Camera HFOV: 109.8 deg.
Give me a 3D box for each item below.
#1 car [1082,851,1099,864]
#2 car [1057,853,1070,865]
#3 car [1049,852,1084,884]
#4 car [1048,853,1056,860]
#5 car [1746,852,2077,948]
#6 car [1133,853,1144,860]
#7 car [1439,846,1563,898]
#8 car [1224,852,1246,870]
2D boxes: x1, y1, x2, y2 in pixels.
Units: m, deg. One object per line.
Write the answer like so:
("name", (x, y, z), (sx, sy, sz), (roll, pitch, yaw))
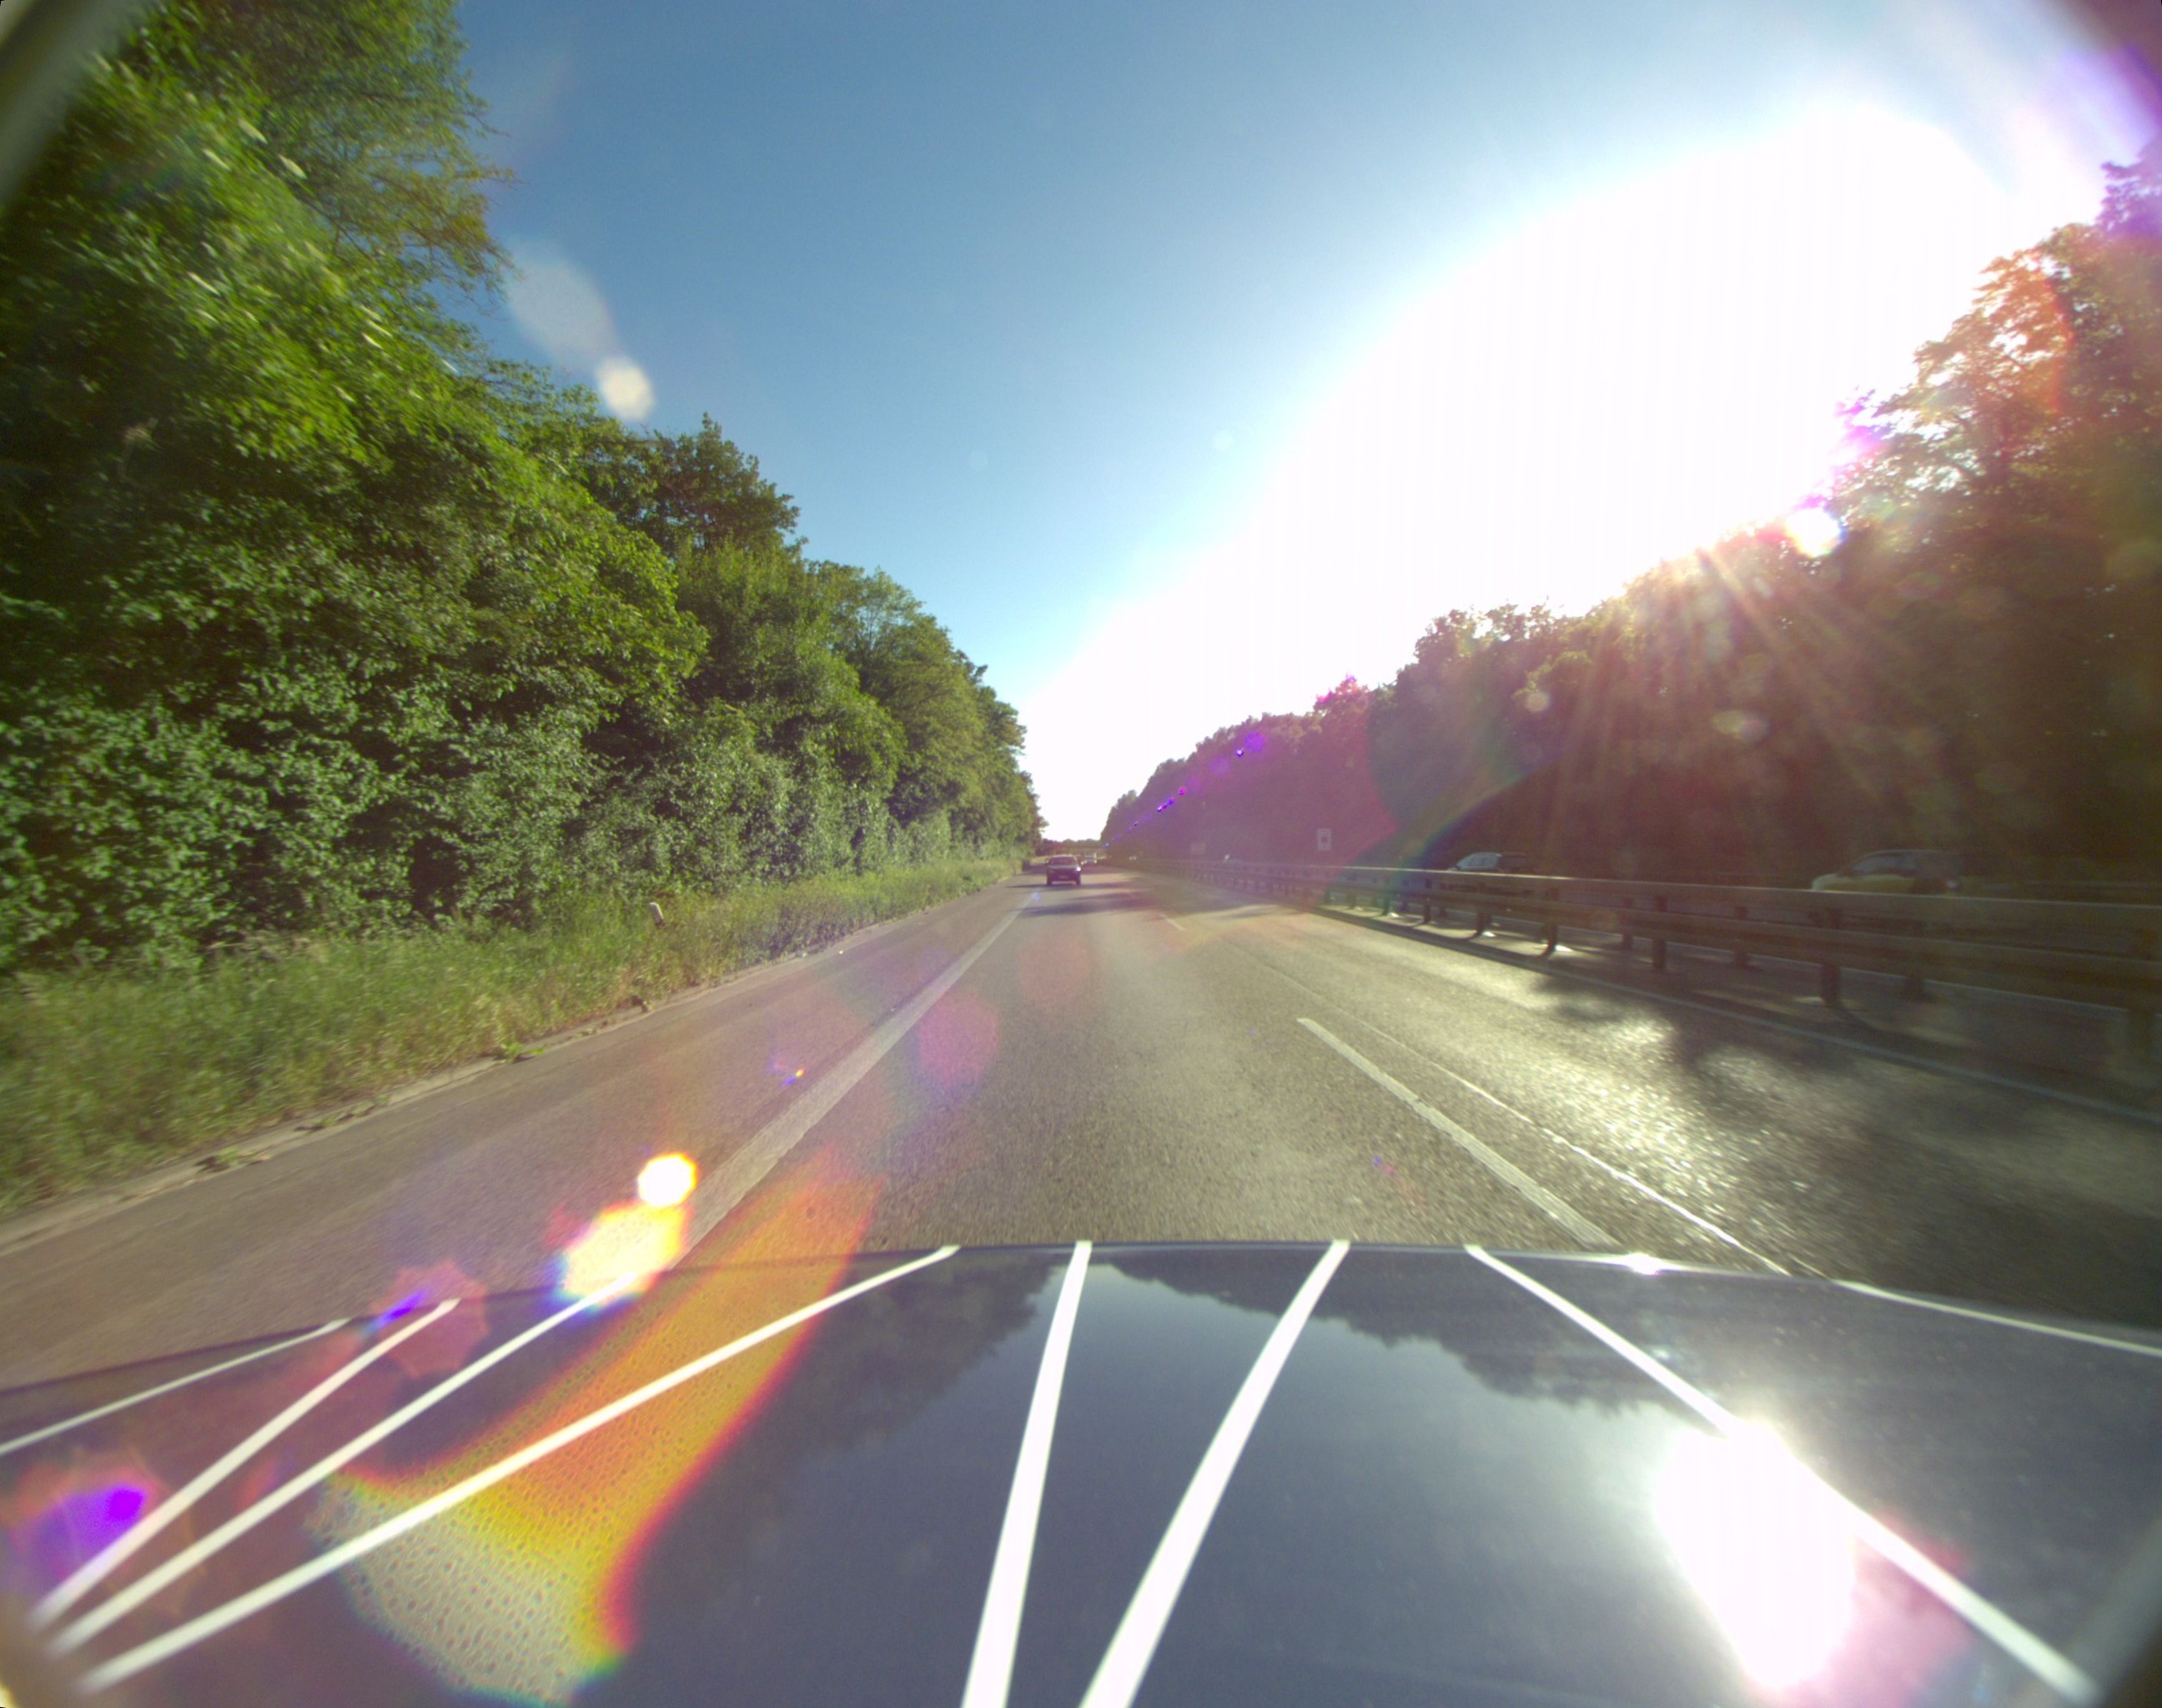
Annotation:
("car", (1.281, 0.446, 103.378), (1.999, 1.793, 3.999), (1, 0, -2))
("car", (-2.475, 0.691, 107.983), (1.712, 1.565, 3.422), (-2, 0, 0))
("car", (-0.701, 0.712, 40.013), (1.712, 1.565, 3.422), (-2, 0, 0))
("car", (-6.706, 0.621, 176.292), (1.712, 1.565, 3.422), (-2, 0, 0))
("car", (15.723, 0.767, 14.781), (1.999, 1.576, 3.999), (1, 0, -1))
("car", (12.949, 0.513, 171.332), (1.999, 1.455, 4.901), (1, 0, -2))
("car", (15.405, 0.599, 28.192), (1.999, 1.739, 4.550), (1, 0, -1))
("car", (14.436, 0.645, 71.346), (1.417, 1.610, 2.874), (0, 0, -1))
